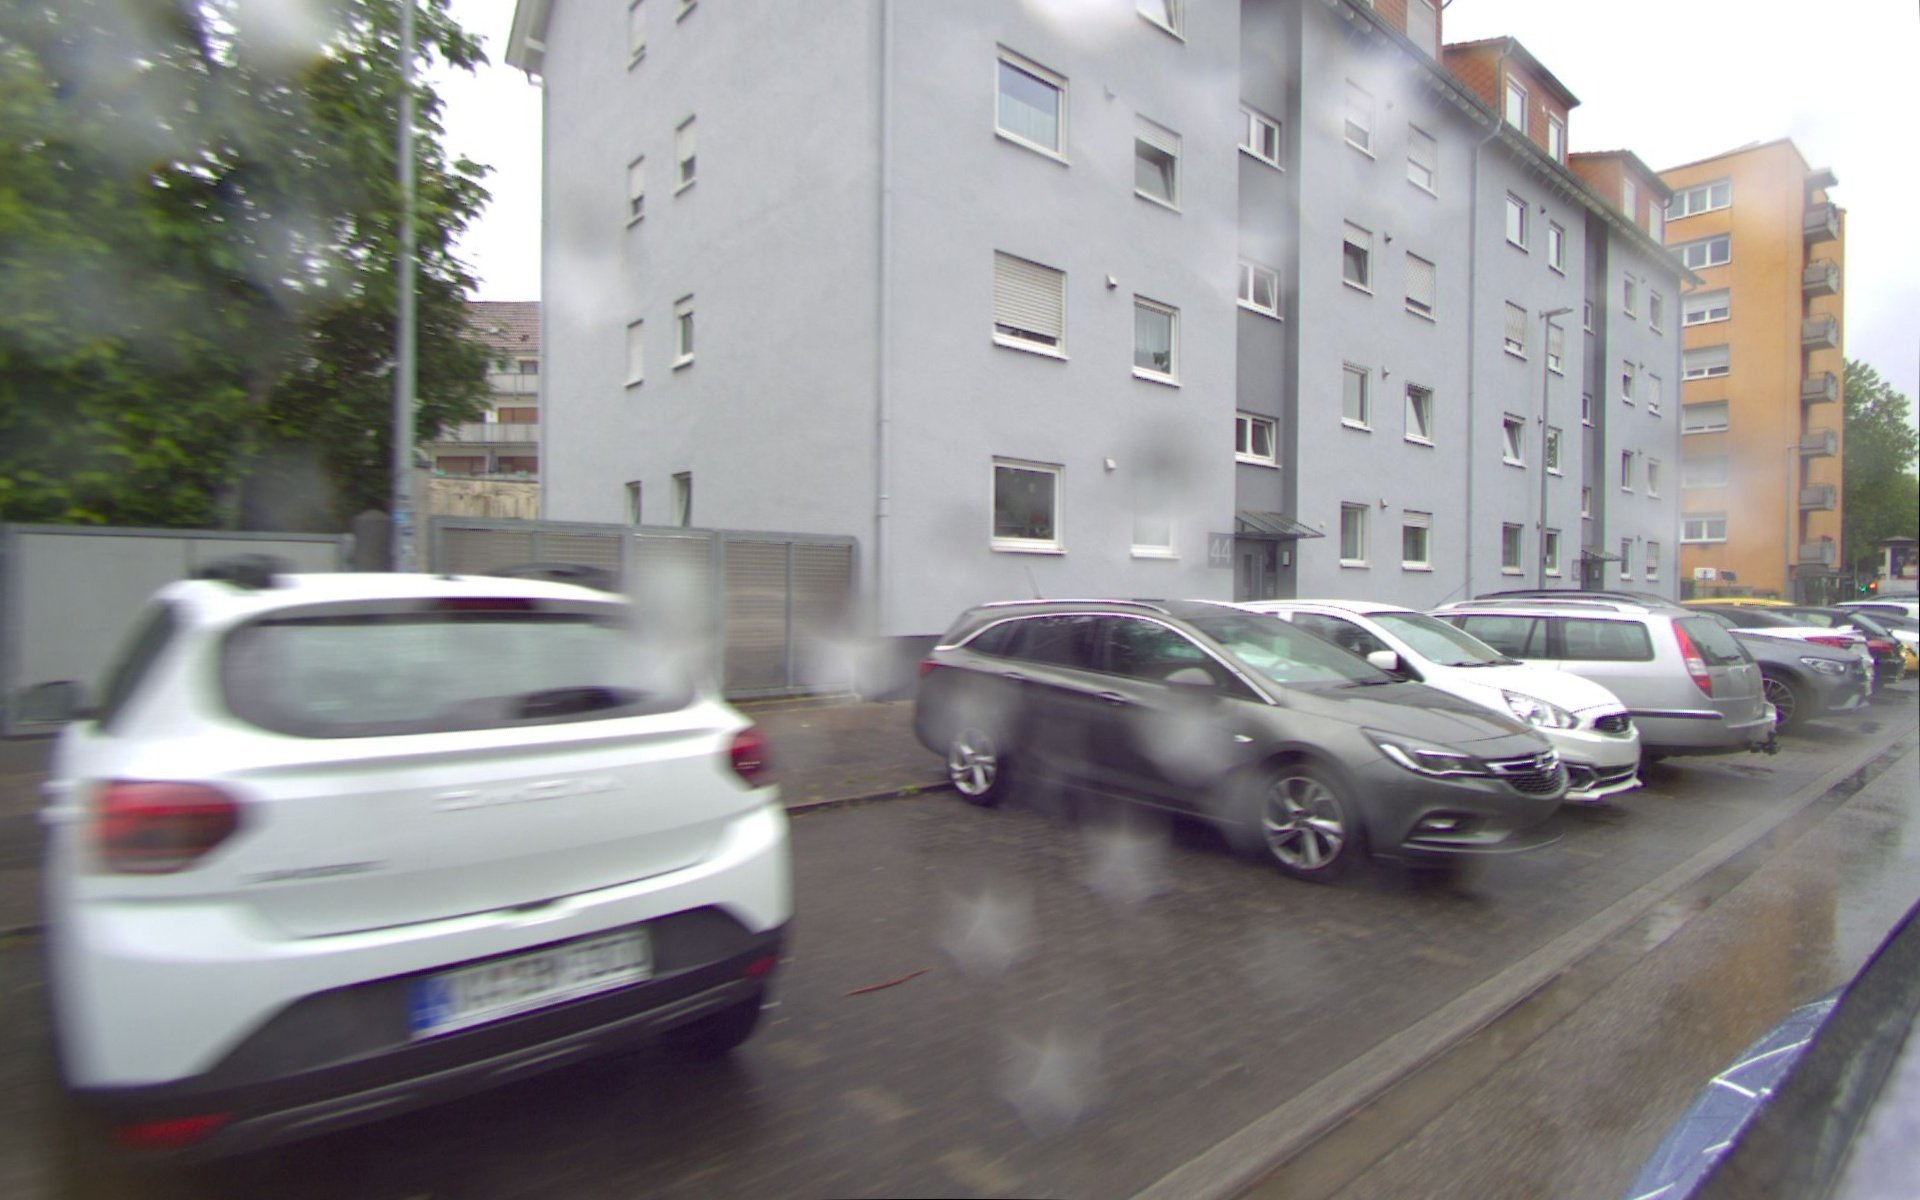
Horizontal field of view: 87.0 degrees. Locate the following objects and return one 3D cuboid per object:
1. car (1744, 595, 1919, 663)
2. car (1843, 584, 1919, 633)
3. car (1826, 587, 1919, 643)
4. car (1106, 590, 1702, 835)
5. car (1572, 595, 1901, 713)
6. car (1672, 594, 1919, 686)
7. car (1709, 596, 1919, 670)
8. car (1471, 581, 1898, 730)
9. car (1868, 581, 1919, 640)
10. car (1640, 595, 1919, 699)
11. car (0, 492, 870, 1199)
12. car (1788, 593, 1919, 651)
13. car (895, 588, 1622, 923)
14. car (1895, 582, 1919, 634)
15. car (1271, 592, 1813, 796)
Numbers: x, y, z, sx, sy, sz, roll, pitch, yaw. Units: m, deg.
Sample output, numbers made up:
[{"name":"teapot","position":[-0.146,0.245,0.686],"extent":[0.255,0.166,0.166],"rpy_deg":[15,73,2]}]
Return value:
[{"name":"car","position":[21.014,0.628,23.526],"extent":[1.621,1.471,4.170],"rpy_deg":[0,0,-39]},{"name":"car","position":[32.250,0.268,33.620],"extent":[1.621,1.626,4.170],"rpy_deg":[0,0,-39]},{"name":"car","position":[28.518,0.437,29.957],"extent":[1.621,1.626,4.170],"rpy_deg":[0,0,-39]},{"name":"car","position":[3.396,0.674,8.430],"extent":[1.885,1.495,4.170],"rpy_deg":[-1,1,-39]},{"name":"car","position":[11.311,0.688,14.939],"extent":[1.514,1.506,3.617],"rpy_deg":[0,0,-39]},{"name":"car","position":[15.292,0.647,18.356],"extent":[1.514,1.506,3.617],"rpy_deg":[0,0,-39]},{"name":"car","position":[18.943,0.654,21.882],"extent":[1.621,1.471,4.170],"rpy_deg":[0,0,-39]},{"name":"car","position":[9.002,0.576,12.902],"extent":[1.621,1.589,4.170],"rpy_deg":[0,0,-39]},{"name":"car","position":[34.550,0.360,35.309],"extent":[1.964,2.039,3.996],"rpy_deg":[0,0,-38]},{"name":"car","position":[13.433,0.675,16.504],"extent":[1.514,1.506,3.617],"rpy_deg":[0,0,-39]},{"name":"car","position":[-2.107,0.632,3.630],"extent":[1.661,1.635,3.922],"rpy_deg":[0,0,-39]},{"name":"car","position":[24.847,0.559,26.903],"extent":[1.621,1.471,4.170],"rpy_deg":[0,0,-39]},{"name":"car","position":[1.644,0.677,6.873],"extent":[2.014,1.495,4.387],"rpy_deg":[-1,1,-39]},{"name":"car","position":[38.694,0.305,38.780],"extent":[1.964,2.039,3.996],"rpy_deg":[0,0,-38]},{"name":"car","position":[5.230,0.680,9.603],"extent":[1.621,1.495,4.170],"rpy_deg":[0,0,-39]}]
